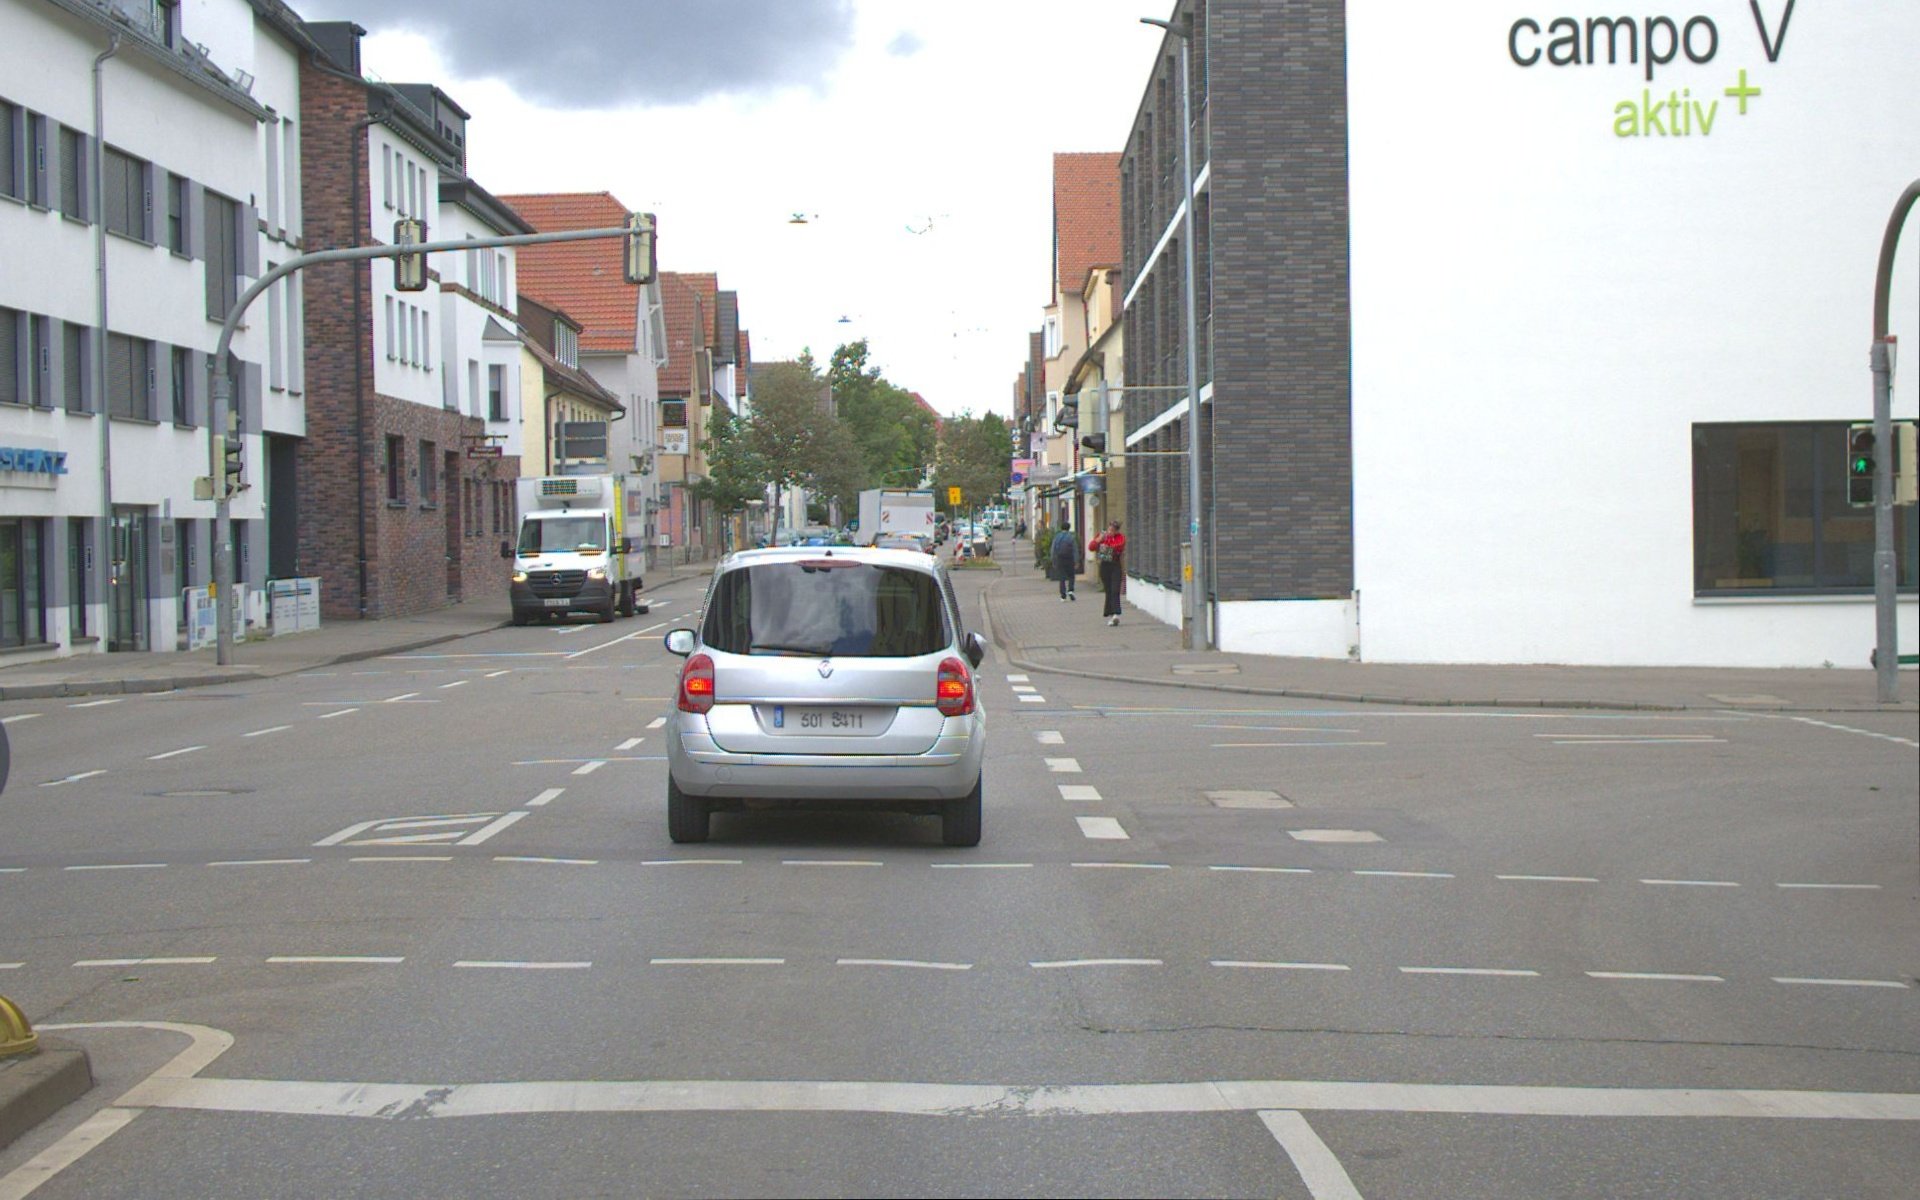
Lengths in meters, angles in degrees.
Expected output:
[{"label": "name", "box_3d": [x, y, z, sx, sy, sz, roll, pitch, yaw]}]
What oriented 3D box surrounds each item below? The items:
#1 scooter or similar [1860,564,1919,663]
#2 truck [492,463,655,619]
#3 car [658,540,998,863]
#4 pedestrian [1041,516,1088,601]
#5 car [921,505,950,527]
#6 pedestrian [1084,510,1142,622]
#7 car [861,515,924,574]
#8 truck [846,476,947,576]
[{"label": "scooter or similar", "box_3d": [12.066, 0.173, 43.508, 1.230, 1.231, 0.406, 0, 1, 1]}, {"label": "truck", "box_3d": [-7.856, -1.262, 70.773, 2.435, 2.943, 8.365, -2, 2, -1]}, {"label": "car", "box_3d": [-0.690, 0.480, 19.373, 1.706, 1.573, 4.000, 0, 2, -1]}, {"label": "pedestrian", "box_3d": [2.285, -0.908, 75.351, 0.889, 1.780, 0.785, -4, 2, 0]}, {"label": "car", "box_3d": [-1.565, -5.512, 224.903, 1.813, 1.349, 4.000, -2, 2, 0]}, {"label": "pedestrian", "box_3d": [2.529, -0.562, 56.872, 0.807, 1.780, 0.861, -4, 2, 0]}, {"label": "car", "box_3d": [-1.859, -1.552, 95.555, 1.706, 1.573, 4.000, 0, 2, -1]}, {"label": "truck", "box_3d": [-2.590, -2.977, 137.540, 2.595, 3.844, 6.851, -1, 2, -13]}]
